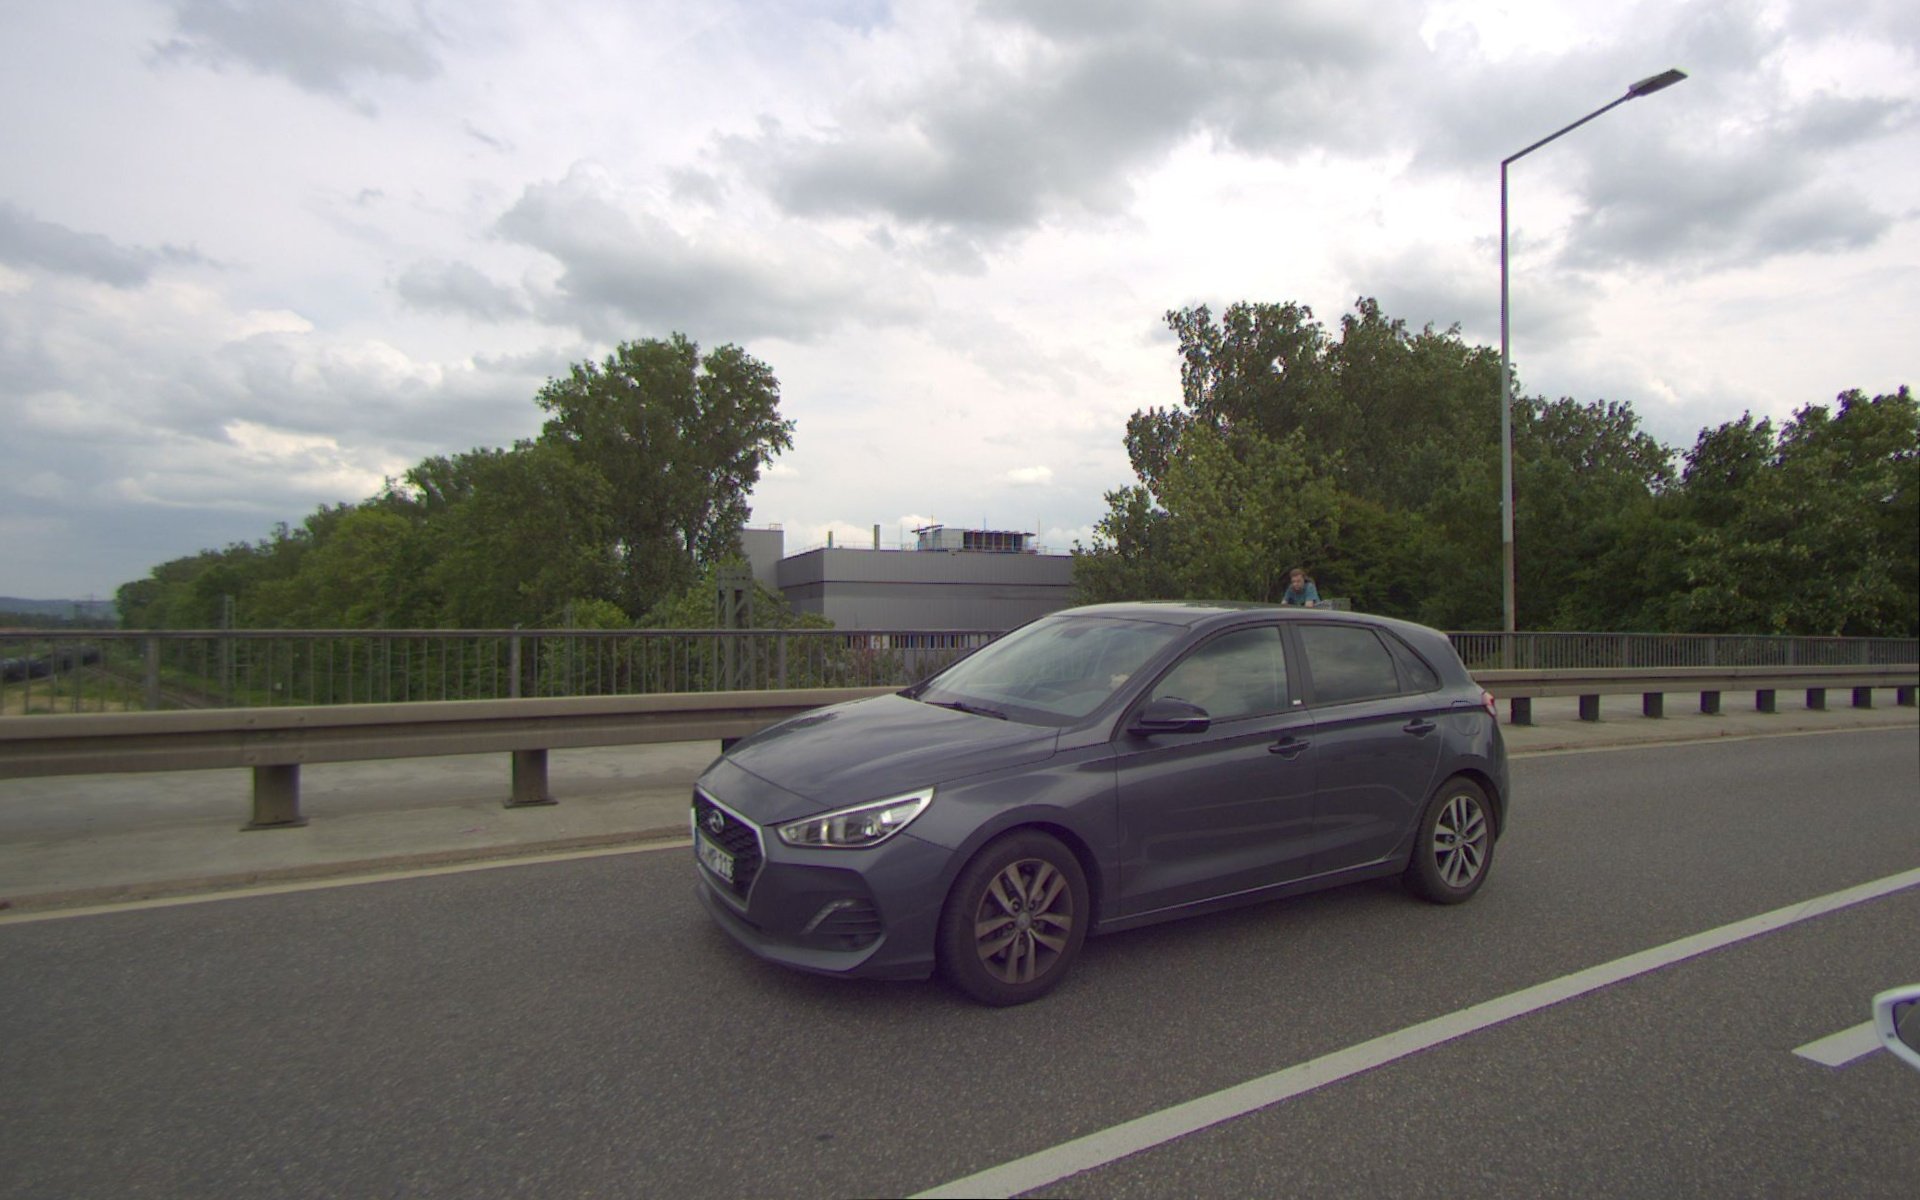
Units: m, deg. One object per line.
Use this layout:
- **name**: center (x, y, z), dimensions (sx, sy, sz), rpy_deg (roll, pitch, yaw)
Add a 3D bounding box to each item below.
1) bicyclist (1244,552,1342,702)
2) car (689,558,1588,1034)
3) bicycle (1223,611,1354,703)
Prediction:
- **bicyclist**: center (4.223, 0.334, 12.775), dimensions (0.788, 1.832, 0.843), rpy_deg (1, 0, -33)
- **car**: center (1.048, 0.666, 5.052), dimensions (4.332, 1.496, 1.799), rpy_deg (2, 0, -31)
- **bicycle**: center (4.191, 0.709, 12.773), dimensions (1.743, 1.081, 0.641), rpy_deg (2, 0, -34)
